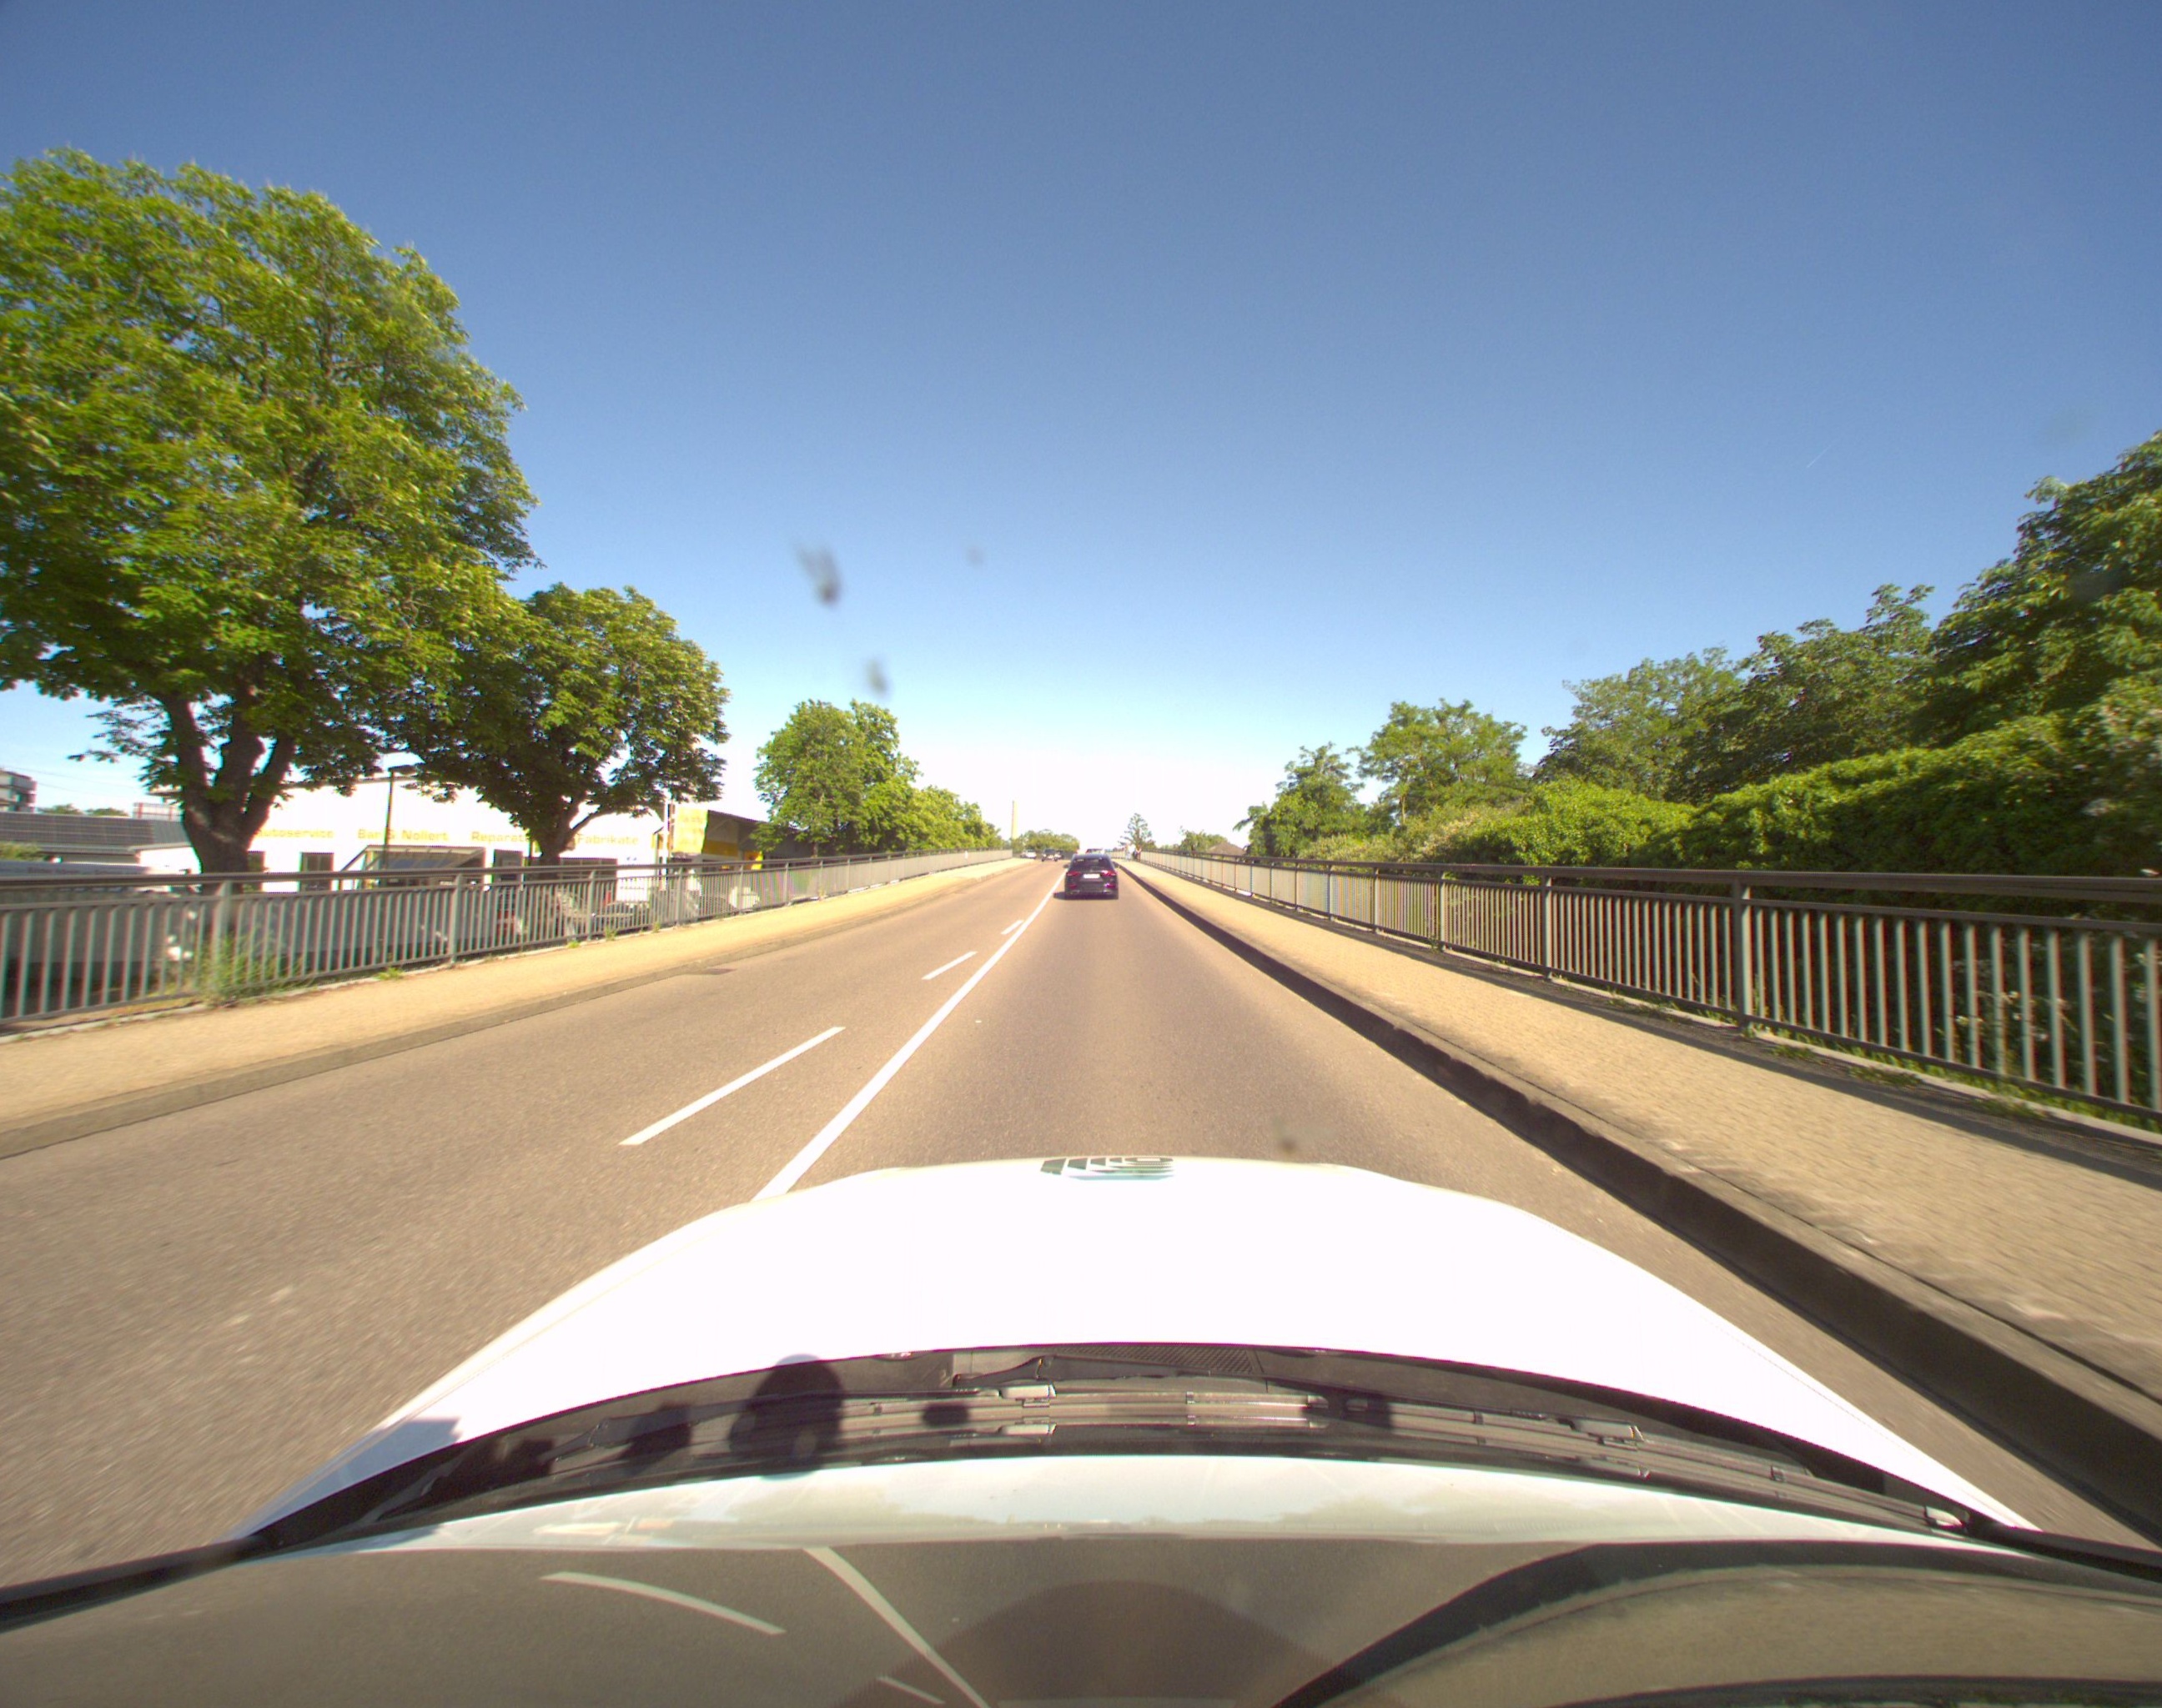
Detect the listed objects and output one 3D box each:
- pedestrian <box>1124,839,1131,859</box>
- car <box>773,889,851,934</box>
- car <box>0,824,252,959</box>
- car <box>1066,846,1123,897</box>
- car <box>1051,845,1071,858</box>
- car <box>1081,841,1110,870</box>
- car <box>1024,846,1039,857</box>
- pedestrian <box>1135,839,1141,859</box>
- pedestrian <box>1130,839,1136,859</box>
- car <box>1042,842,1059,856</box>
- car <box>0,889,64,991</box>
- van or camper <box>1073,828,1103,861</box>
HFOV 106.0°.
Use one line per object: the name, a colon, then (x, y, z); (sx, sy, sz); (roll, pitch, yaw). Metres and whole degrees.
pedestrian: (4.094, -0.442, 72.041); (0.600, 1.750, 0.716); (1, -2, 0)
car: (-12.836, 2.700, 39.126); (1.914, 1.991, 4.263); (1, -2, 5)
car: (-26.015, 0.905, 21.437); (2.127, 2.559, 5.884); (-9, 8, -5)
car: (0.401, 0.540, 28.020); (1.765, 1.592, 3.987); (1, 1, -1)
car: (-2.861, -0.334, 115.968); (1.906, 1.489, 4.282); (-1, -3, 12)
car: (0.975, 0.130, 54.037); (1.797, 1.640, 4.001); (1, -3, 2)
car: (-8.010, -0.399, 132.873); (1.985, 1.680, 4.001); (0, -3, 2)
pedestrian: (5.058, -0.409, 71.838); (0.470, 1.750, 0.654); (1, -2, 0)
pedestrian: (4.652, -0.416, 72.830); (0.547, 1.750, 0.738); (1, -2, 0)
car: (-3.359, -0.576, 89.731); (1.764, 1.474, 3.988); (-1, 0, 0)
car: (-19.176, 1.327, 12.654); (3.993, 1.584, 1.894); (2, -2, -5)
van or camper: (0.563, -0.805, 74.967); (2.222, 2.739, 7.069); (1, -2, -4)
